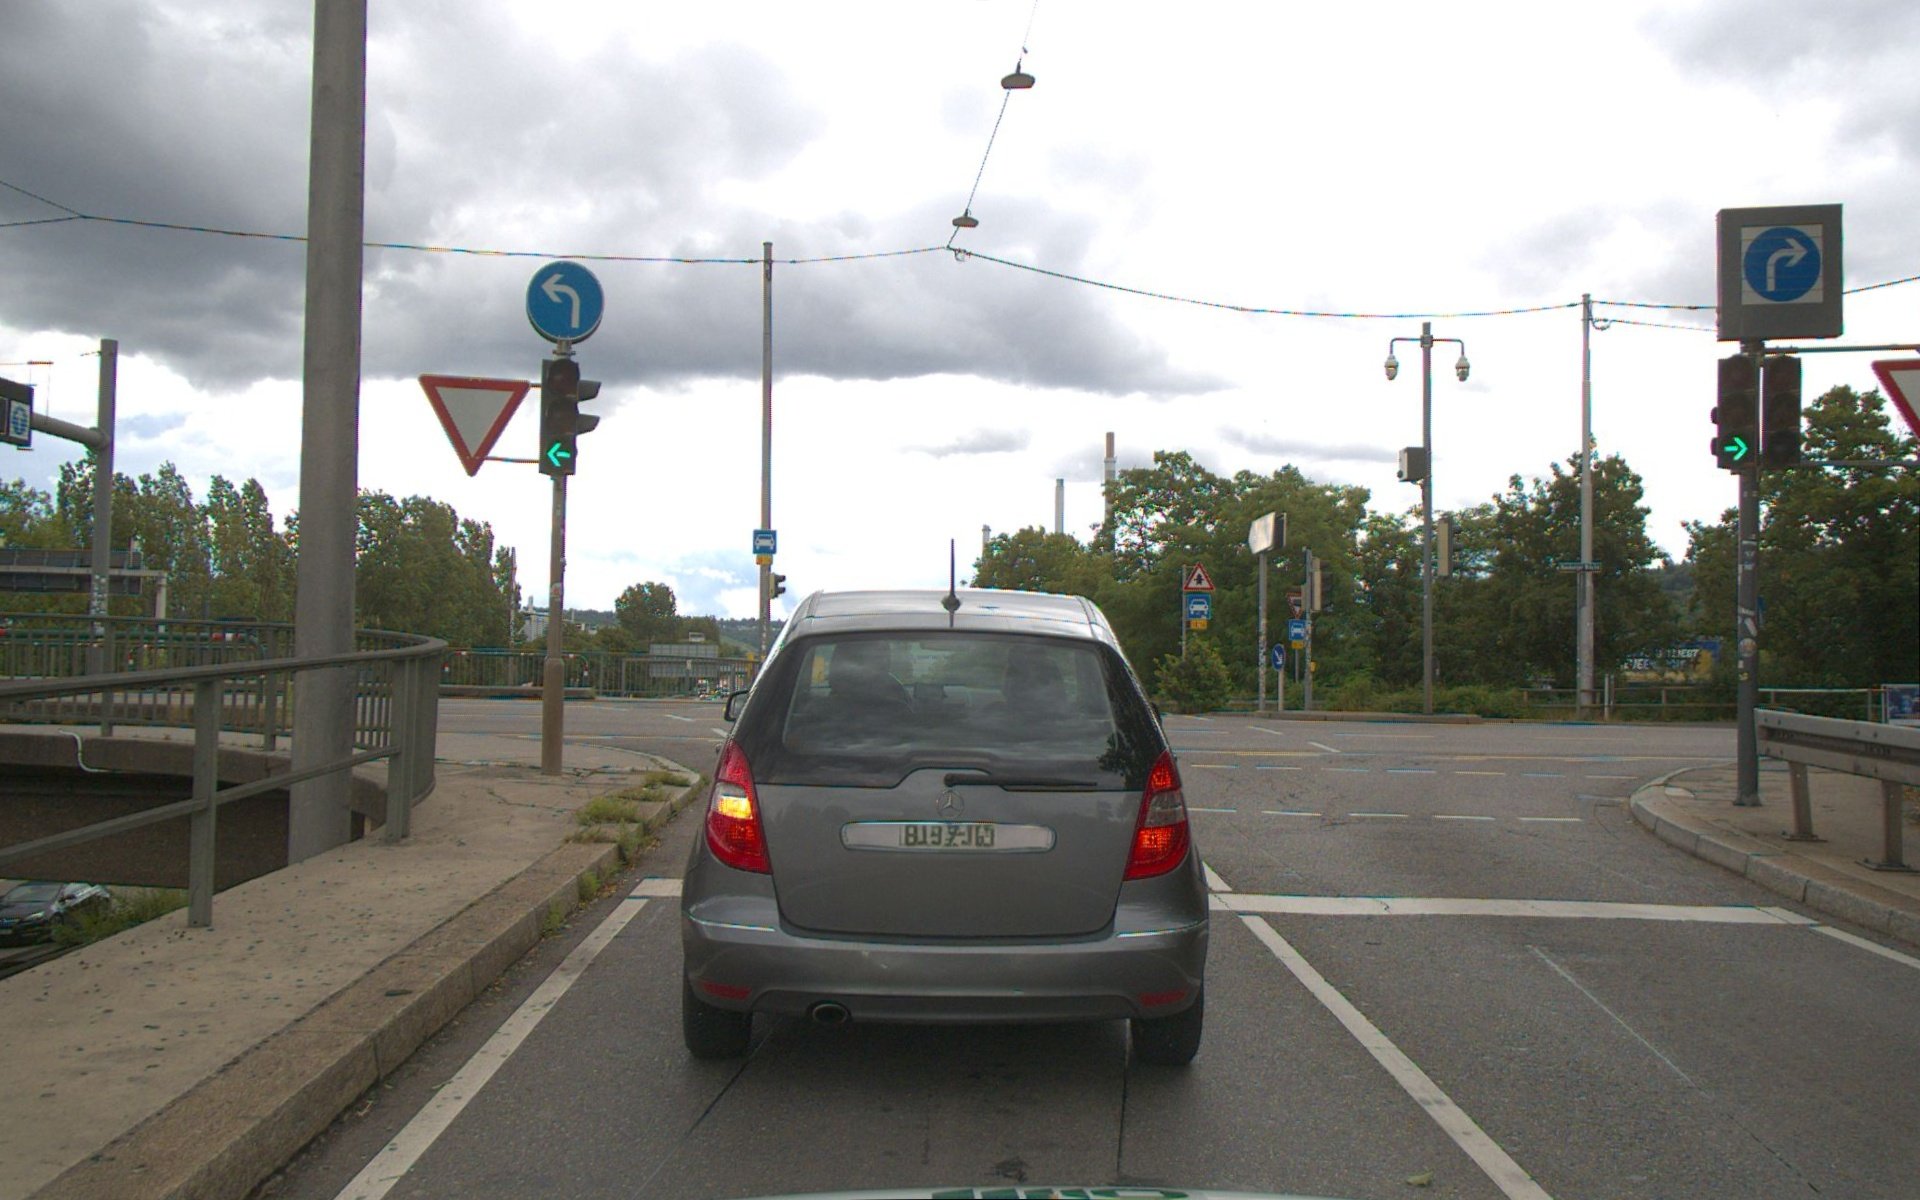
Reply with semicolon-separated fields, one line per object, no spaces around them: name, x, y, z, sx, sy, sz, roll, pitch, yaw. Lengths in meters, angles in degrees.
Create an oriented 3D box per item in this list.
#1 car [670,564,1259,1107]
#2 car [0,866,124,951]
car;-0.002;0.704;6.622;1.704;1.570;3.540;1;0;-1
car;-24.209;8.129;43.819;1.802;1.520;4.569;-2;-2;-1
